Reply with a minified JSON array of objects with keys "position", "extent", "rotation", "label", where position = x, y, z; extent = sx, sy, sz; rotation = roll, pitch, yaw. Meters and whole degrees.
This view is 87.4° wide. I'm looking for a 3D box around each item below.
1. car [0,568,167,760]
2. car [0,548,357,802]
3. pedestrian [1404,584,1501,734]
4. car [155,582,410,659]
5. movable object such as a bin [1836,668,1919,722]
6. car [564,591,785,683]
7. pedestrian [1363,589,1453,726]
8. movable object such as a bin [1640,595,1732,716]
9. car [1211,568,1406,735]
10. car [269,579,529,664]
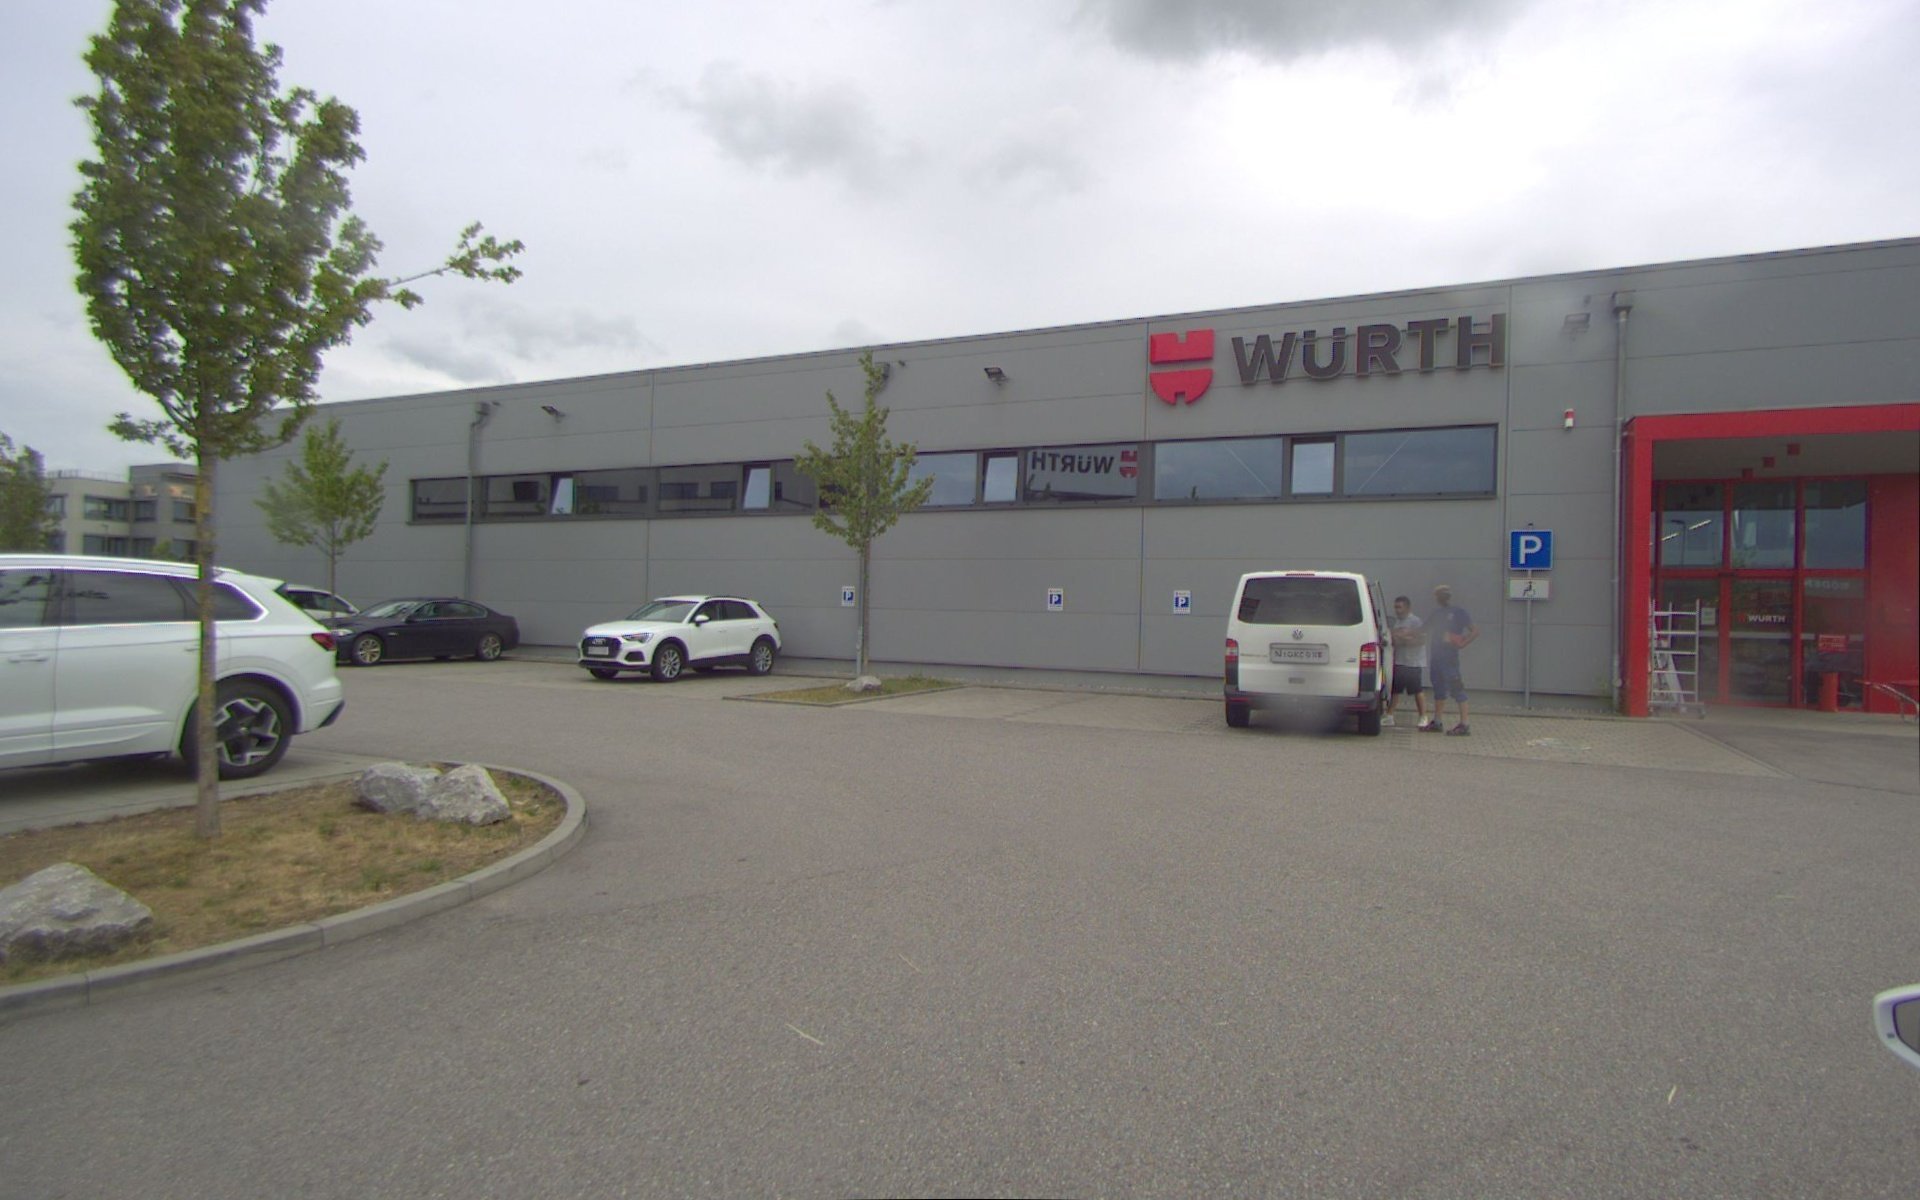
[{"position":[-9.674,0.535,8.235],"extent":[1.963,1.672,4.573],"rotation":[-1,-2,26],"label":"car"},{"position":[-7.147,0.506,7.134],"extent":[1.963,1.672,4.573],"rotation":[-1,-2,26],"label":"car"},{"position":[6.215,0.733,12.706],"extent":[0.863,1.826,0.678],"rotation":[1,0,-3],"label":"pedestrian"},{"position":[-16.160,0.525,24.307],"extent":[1.962,1.660,4.803],"rotation":[-1,-2,23],"label":"car"},{"position":[14.340,1.450,15.195],"extent":[1.467,0.713,0.963],"rotation":[2,0,32],"label":"movable object such as a bin"},{"position":[-5.388,0.690,19.558],"extent":[1.710,1.572,4.259],"rotation":[-1,-2,27],"label":"car"},{"position":[5.980,0.761,13.435],"extent":[0.888,1.775,0.625],"rotation":[1,0,-2],"label":"pedestrian"},{"position":[10.494,0.799,14.558],"extent":[0.896,1.694,0.742],"rotation":[-2,-2,26],"label":"movable object such as a bin"},{"position":[4.845,0.658,13.600],"extent":[2.023,1.880,4.058],"rotation":[-1,-2,26],"label":"car"},{"position":[-12.300,0.491,22.441],"extent":[1.962,1.660,4.802],"rotation":[1,-1,25],"label":"car"}]
